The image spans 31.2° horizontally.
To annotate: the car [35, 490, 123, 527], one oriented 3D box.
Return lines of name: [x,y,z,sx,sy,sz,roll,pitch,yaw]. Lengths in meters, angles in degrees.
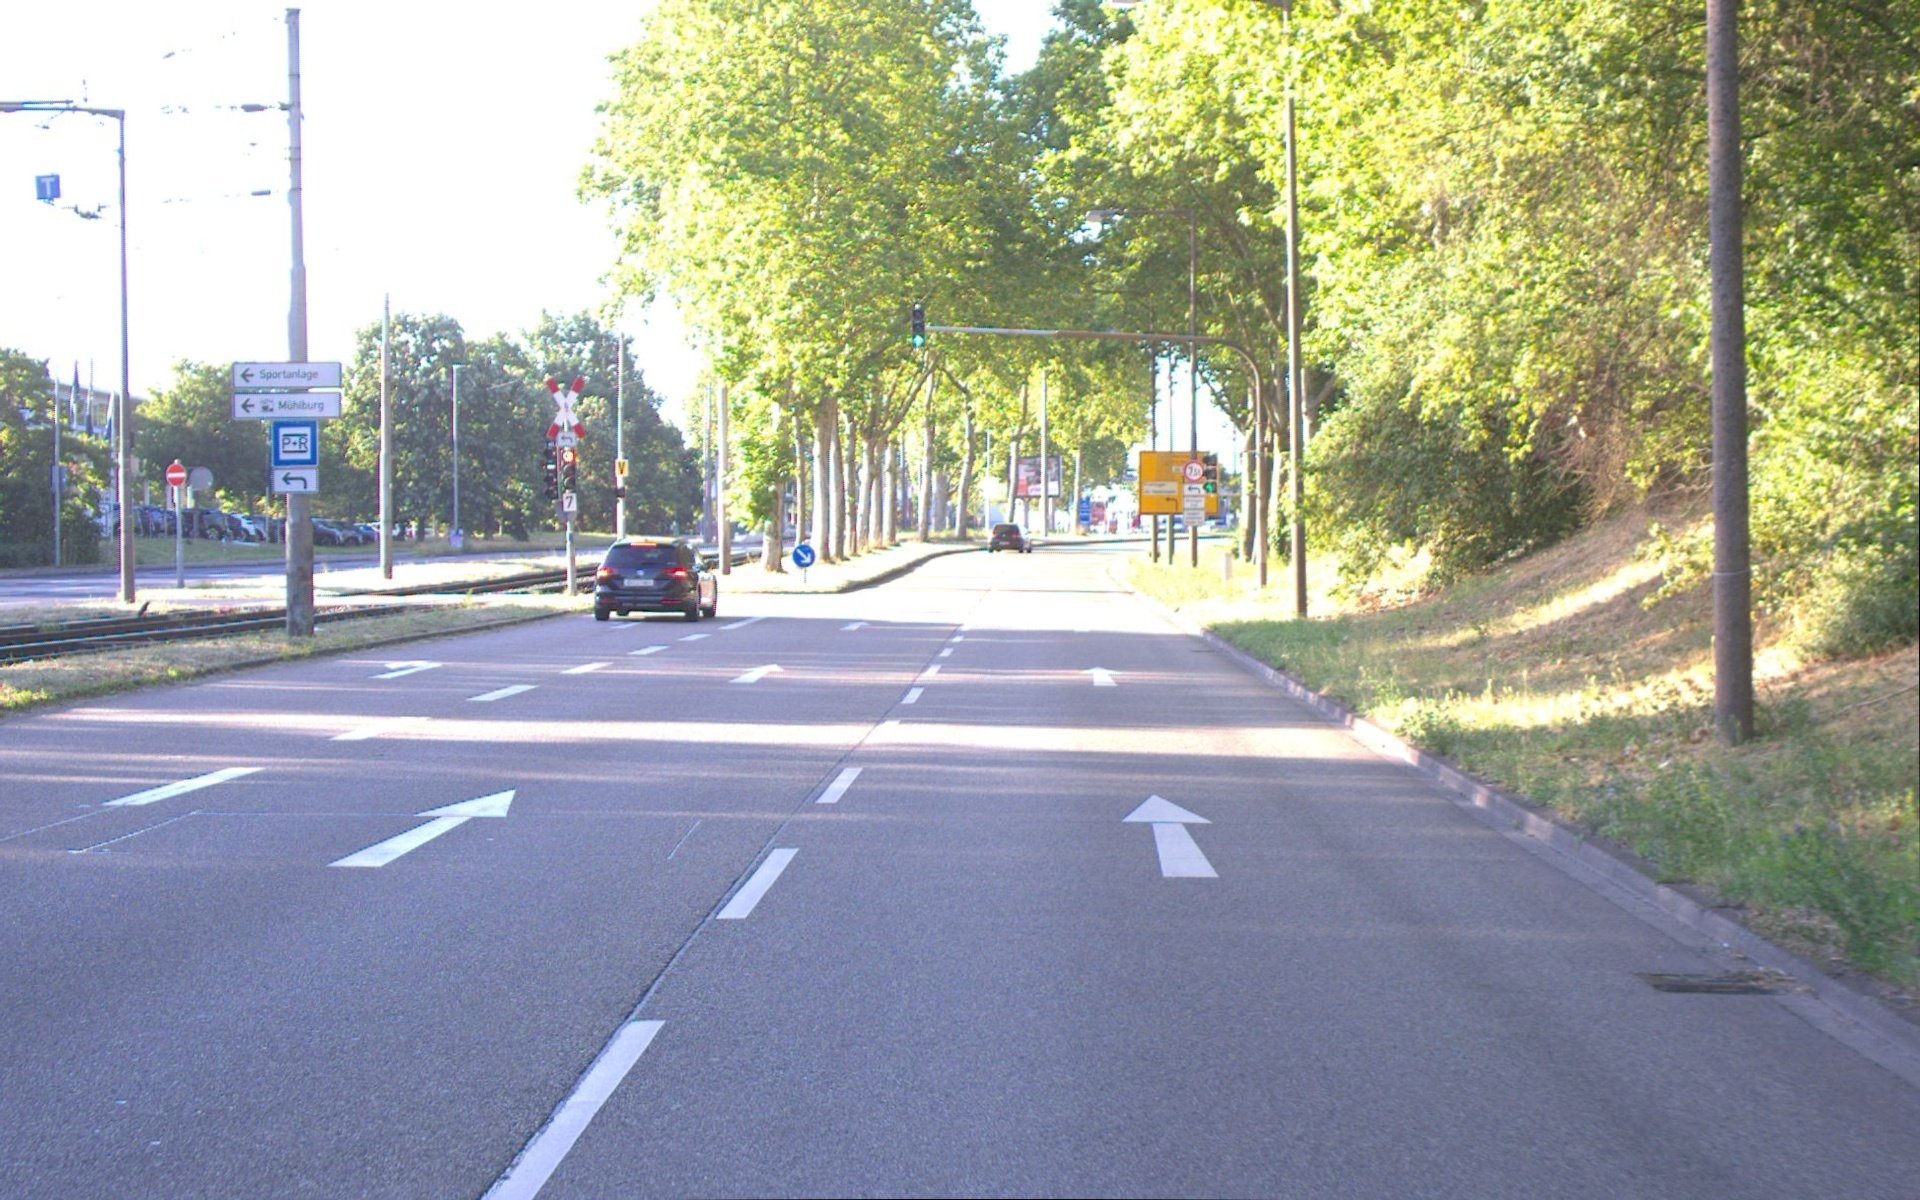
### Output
car: [-35.221,-3.661,137.502,3.142,1.387,1.456,1,1,-2]

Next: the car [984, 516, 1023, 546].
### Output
car: [2.155,-3.388,168.287,1.792,1.398,3.688,1,0,2]

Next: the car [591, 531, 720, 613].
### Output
car: [-5.324,-0.503,60.519,1.792,1.398,3.689,0,1,2]

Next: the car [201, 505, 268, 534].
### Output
car: [-37.319,-4.145,176.892,3.142,1.387,1.456,1,1,-2]
